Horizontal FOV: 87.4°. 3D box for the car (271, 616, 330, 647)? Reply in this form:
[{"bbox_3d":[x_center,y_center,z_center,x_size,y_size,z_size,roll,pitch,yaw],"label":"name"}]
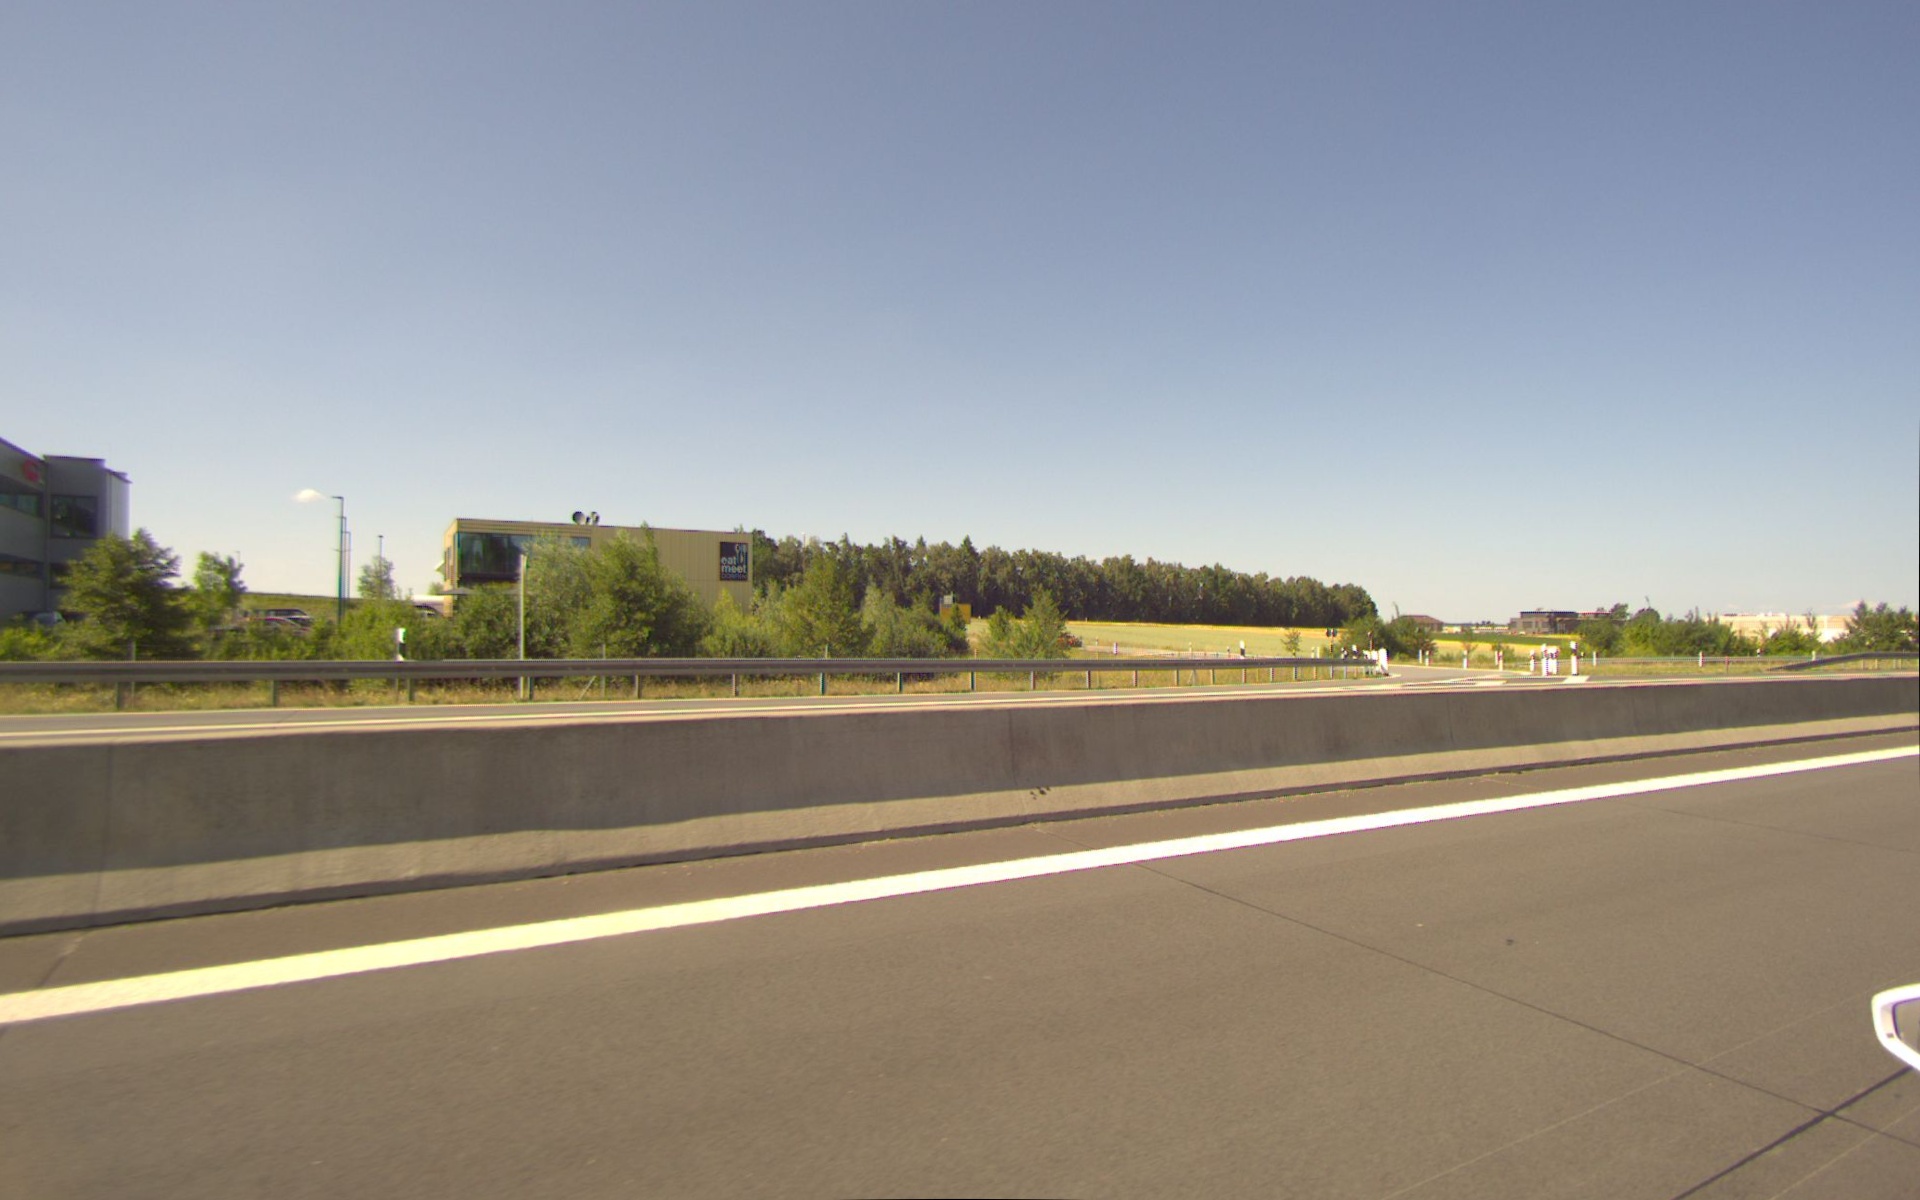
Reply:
[{"bbox_3d":[-37.283,1.762,56.774,3.946,1.617,1.988,0,-1,45],"label":"car"}]

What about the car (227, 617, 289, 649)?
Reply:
[{"bbox_3d":[-37.873,1.751,54.160,3.945,1.617,1.988,0,-1,44],"label":"car"}]
